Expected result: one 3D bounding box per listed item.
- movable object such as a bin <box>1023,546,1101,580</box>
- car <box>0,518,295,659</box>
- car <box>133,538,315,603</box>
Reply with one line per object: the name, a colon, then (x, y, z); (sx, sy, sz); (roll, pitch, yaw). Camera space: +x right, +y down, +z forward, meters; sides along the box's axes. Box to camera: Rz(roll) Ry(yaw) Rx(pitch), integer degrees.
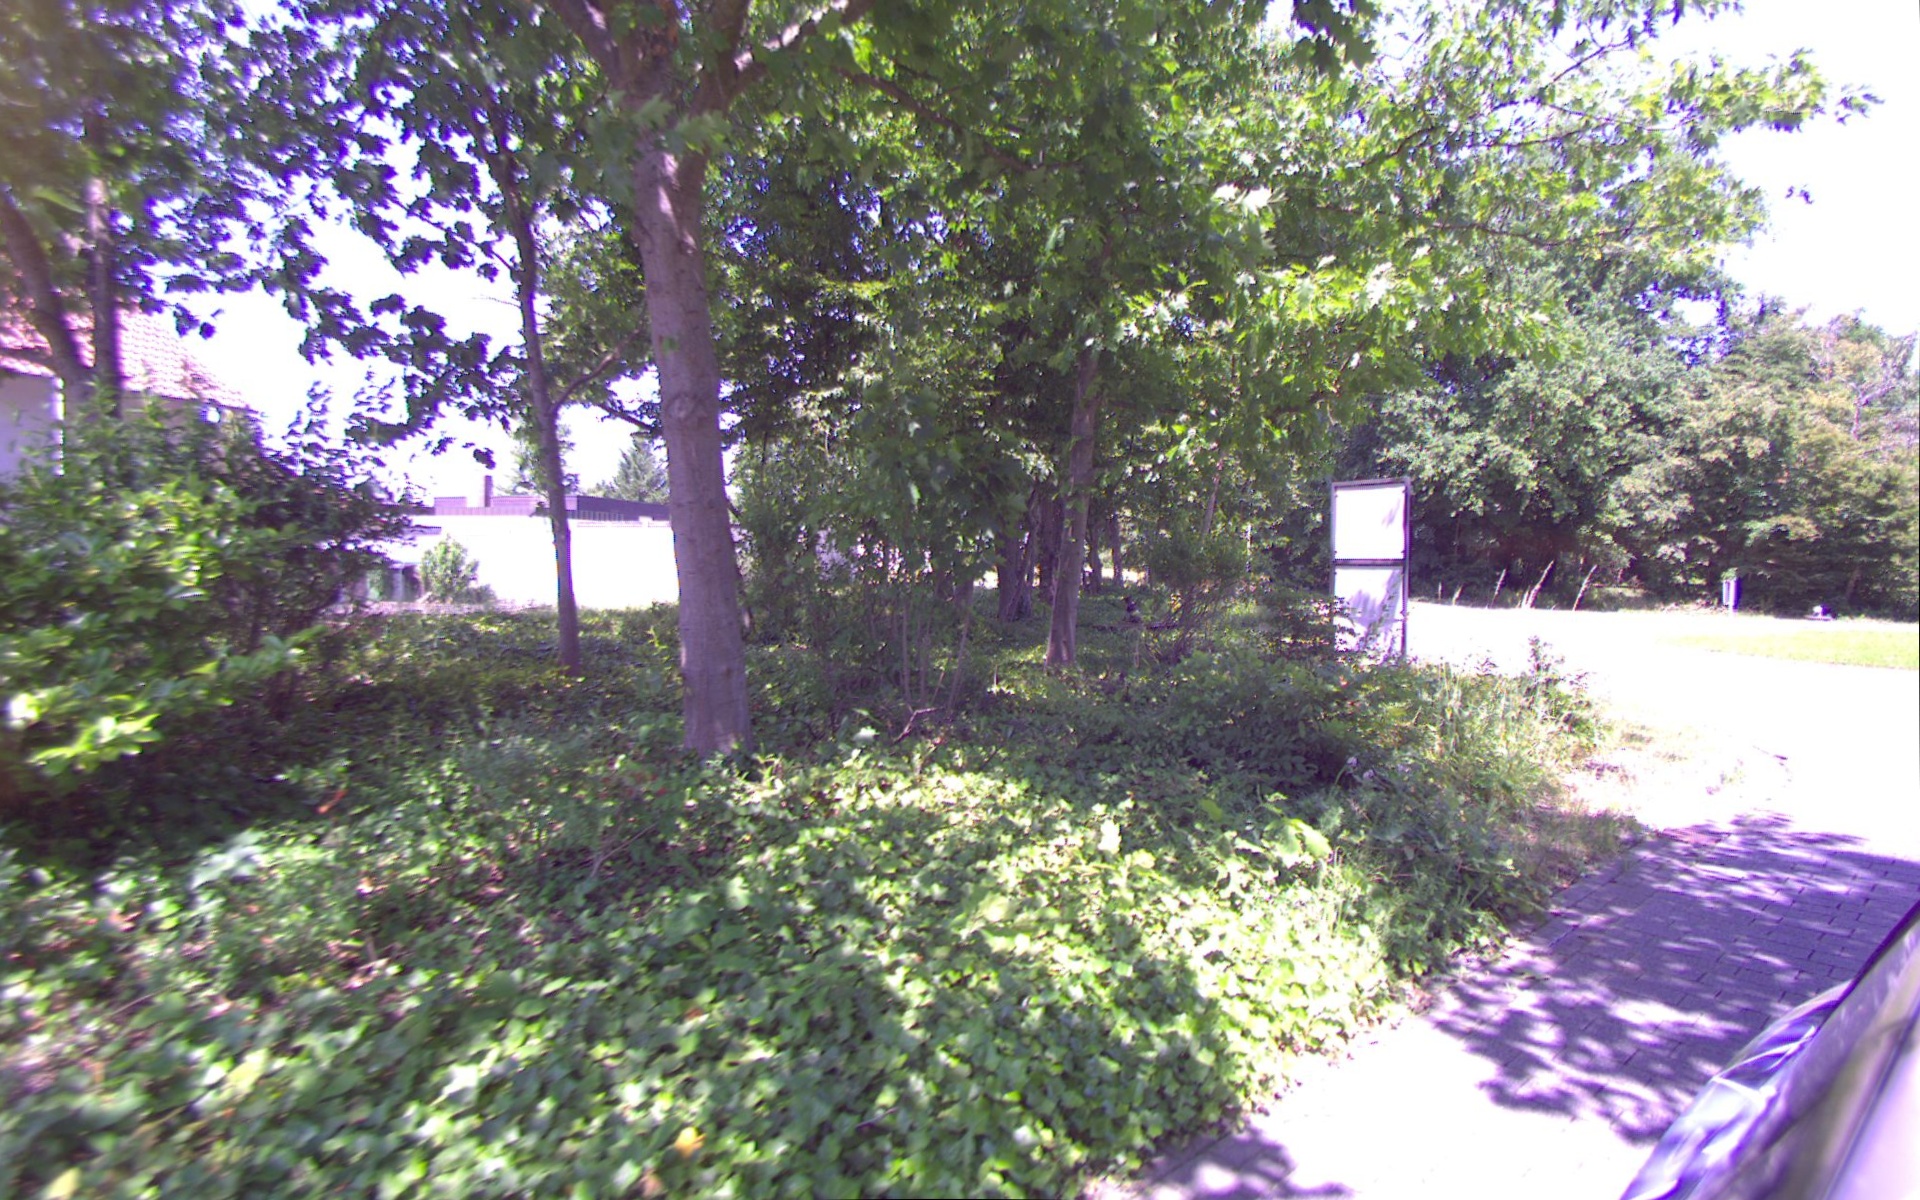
movable object such as a bin: (7.083, -2.611, 70.649); (2.477, 2.304, 5.237); (0, 2, -38)
car: (-12.066, -0.219, 14.624); (1.641, 1.726, 4.127); (1, 2, 14)
car: (-17.274, -0.718, 23.785); (3.645, 1.402, 1.675); (2, 2, 18)
